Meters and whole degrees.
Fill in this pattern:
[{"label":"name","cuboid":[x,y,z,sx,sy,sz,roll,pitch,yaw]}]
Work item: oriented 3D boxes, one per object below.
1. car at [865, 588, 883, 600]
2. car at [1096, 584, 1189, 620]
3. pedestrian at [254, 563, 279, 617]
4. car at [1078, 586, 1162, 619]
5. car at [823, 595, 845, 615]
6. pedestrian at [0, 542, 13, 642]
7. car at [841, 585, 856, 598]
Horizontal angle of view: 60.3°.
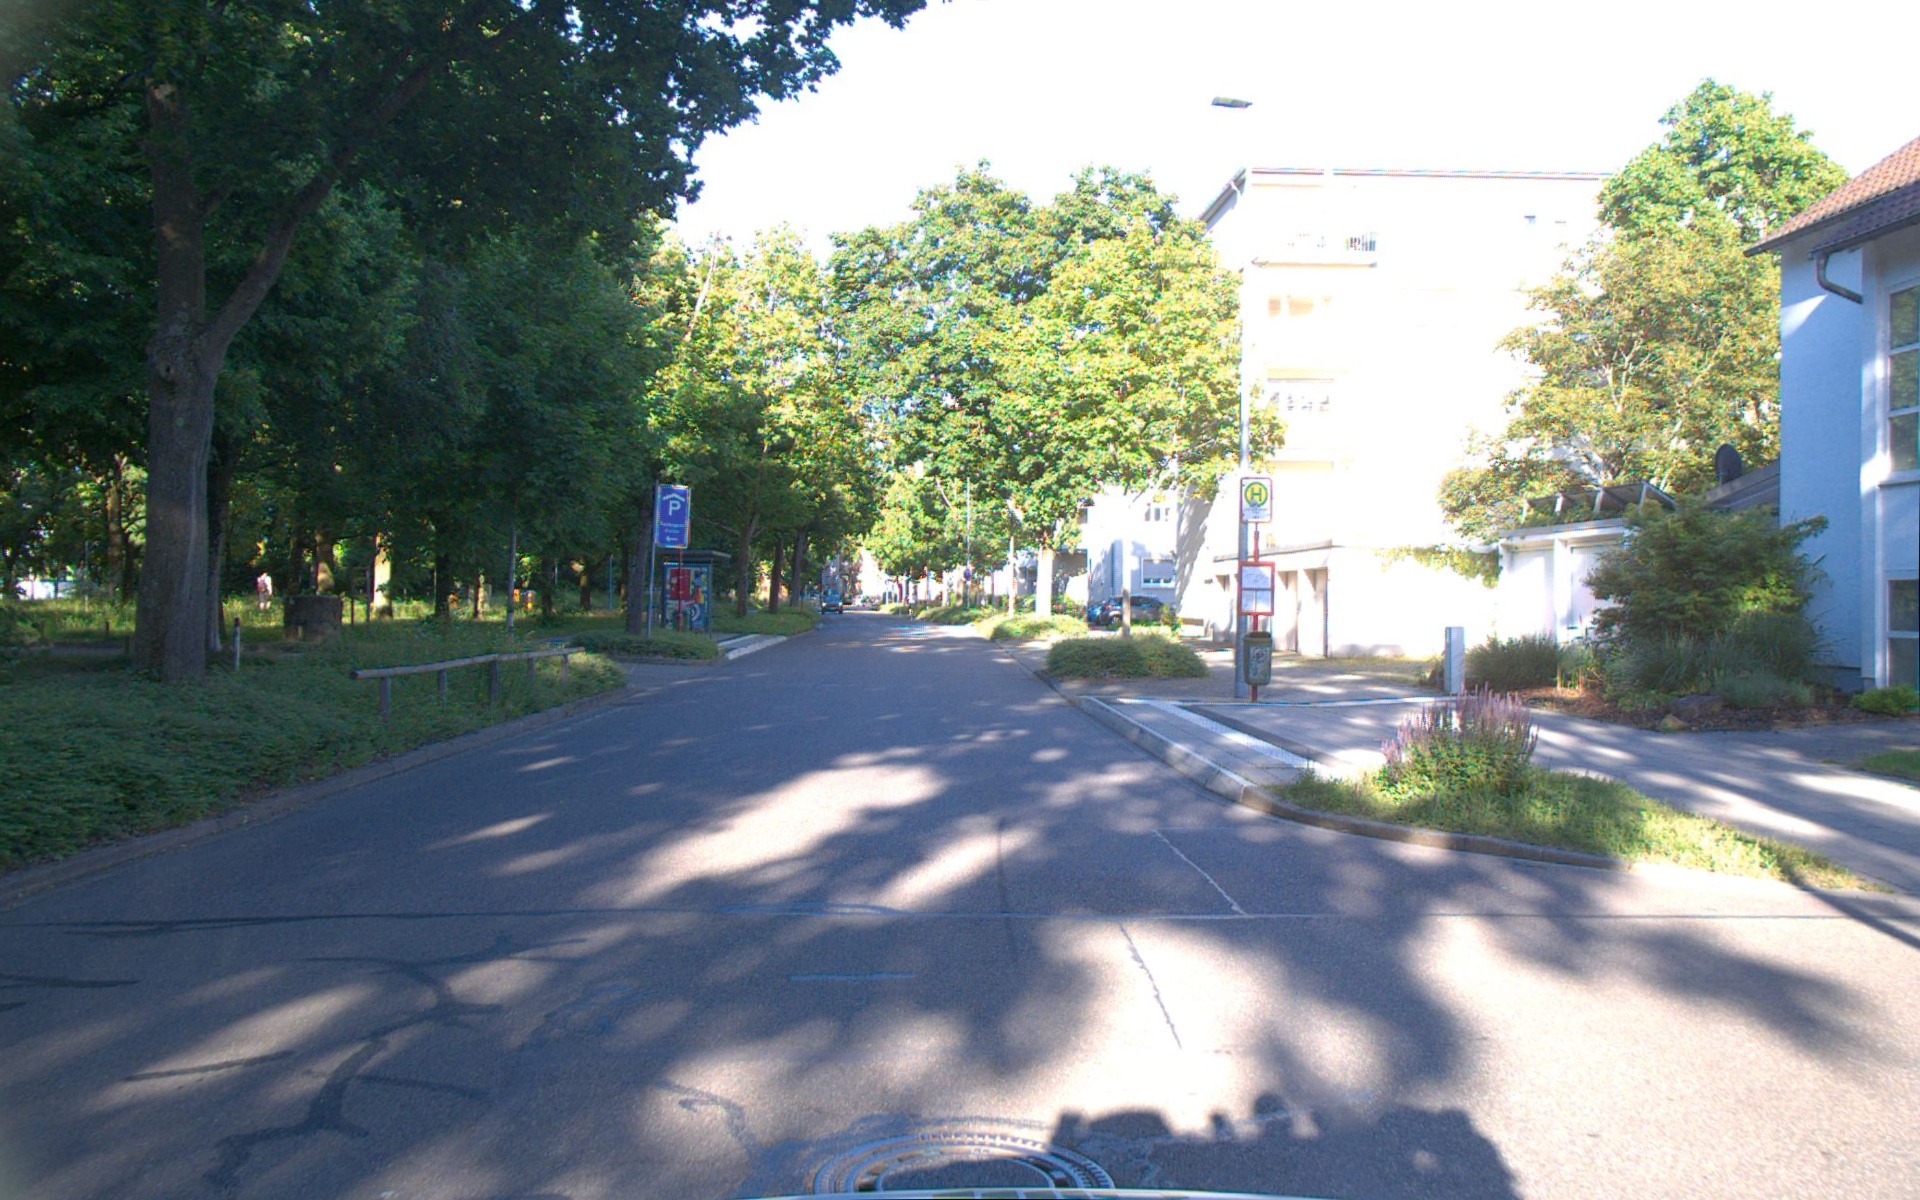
[{"label":"car","cuboid":[-11.223,-0.810,215.823,1.780,1.527,3.987,0,0,-13]},{"label":"car","cuboid":[8.311,0.109,75.363,3.961,1.541,1.725,1,-1,-5]},{"label":"pedestrian","cuboid":[-26.897,-0.382,64.153,0.742,2.049,0.589,1,0,-6]},{"label":"car","cuboid":[8.027,0.125,83.031,3.910,1.609,1.808,0,1,-6]},{"label":"car","cuboid":[-10.865,0.381,142.170,1.808,1.606,4.332,-1,1,-5]},{"label":"pedestrian","cuboid":[-18.300,-0.160,30.824,0.885,1.853,0.720,1,0,-4]},{"label":"car","cuboid":[-16.493,-1.260,244.122,1.778,1.959,3.992,2,0,-9]}]
